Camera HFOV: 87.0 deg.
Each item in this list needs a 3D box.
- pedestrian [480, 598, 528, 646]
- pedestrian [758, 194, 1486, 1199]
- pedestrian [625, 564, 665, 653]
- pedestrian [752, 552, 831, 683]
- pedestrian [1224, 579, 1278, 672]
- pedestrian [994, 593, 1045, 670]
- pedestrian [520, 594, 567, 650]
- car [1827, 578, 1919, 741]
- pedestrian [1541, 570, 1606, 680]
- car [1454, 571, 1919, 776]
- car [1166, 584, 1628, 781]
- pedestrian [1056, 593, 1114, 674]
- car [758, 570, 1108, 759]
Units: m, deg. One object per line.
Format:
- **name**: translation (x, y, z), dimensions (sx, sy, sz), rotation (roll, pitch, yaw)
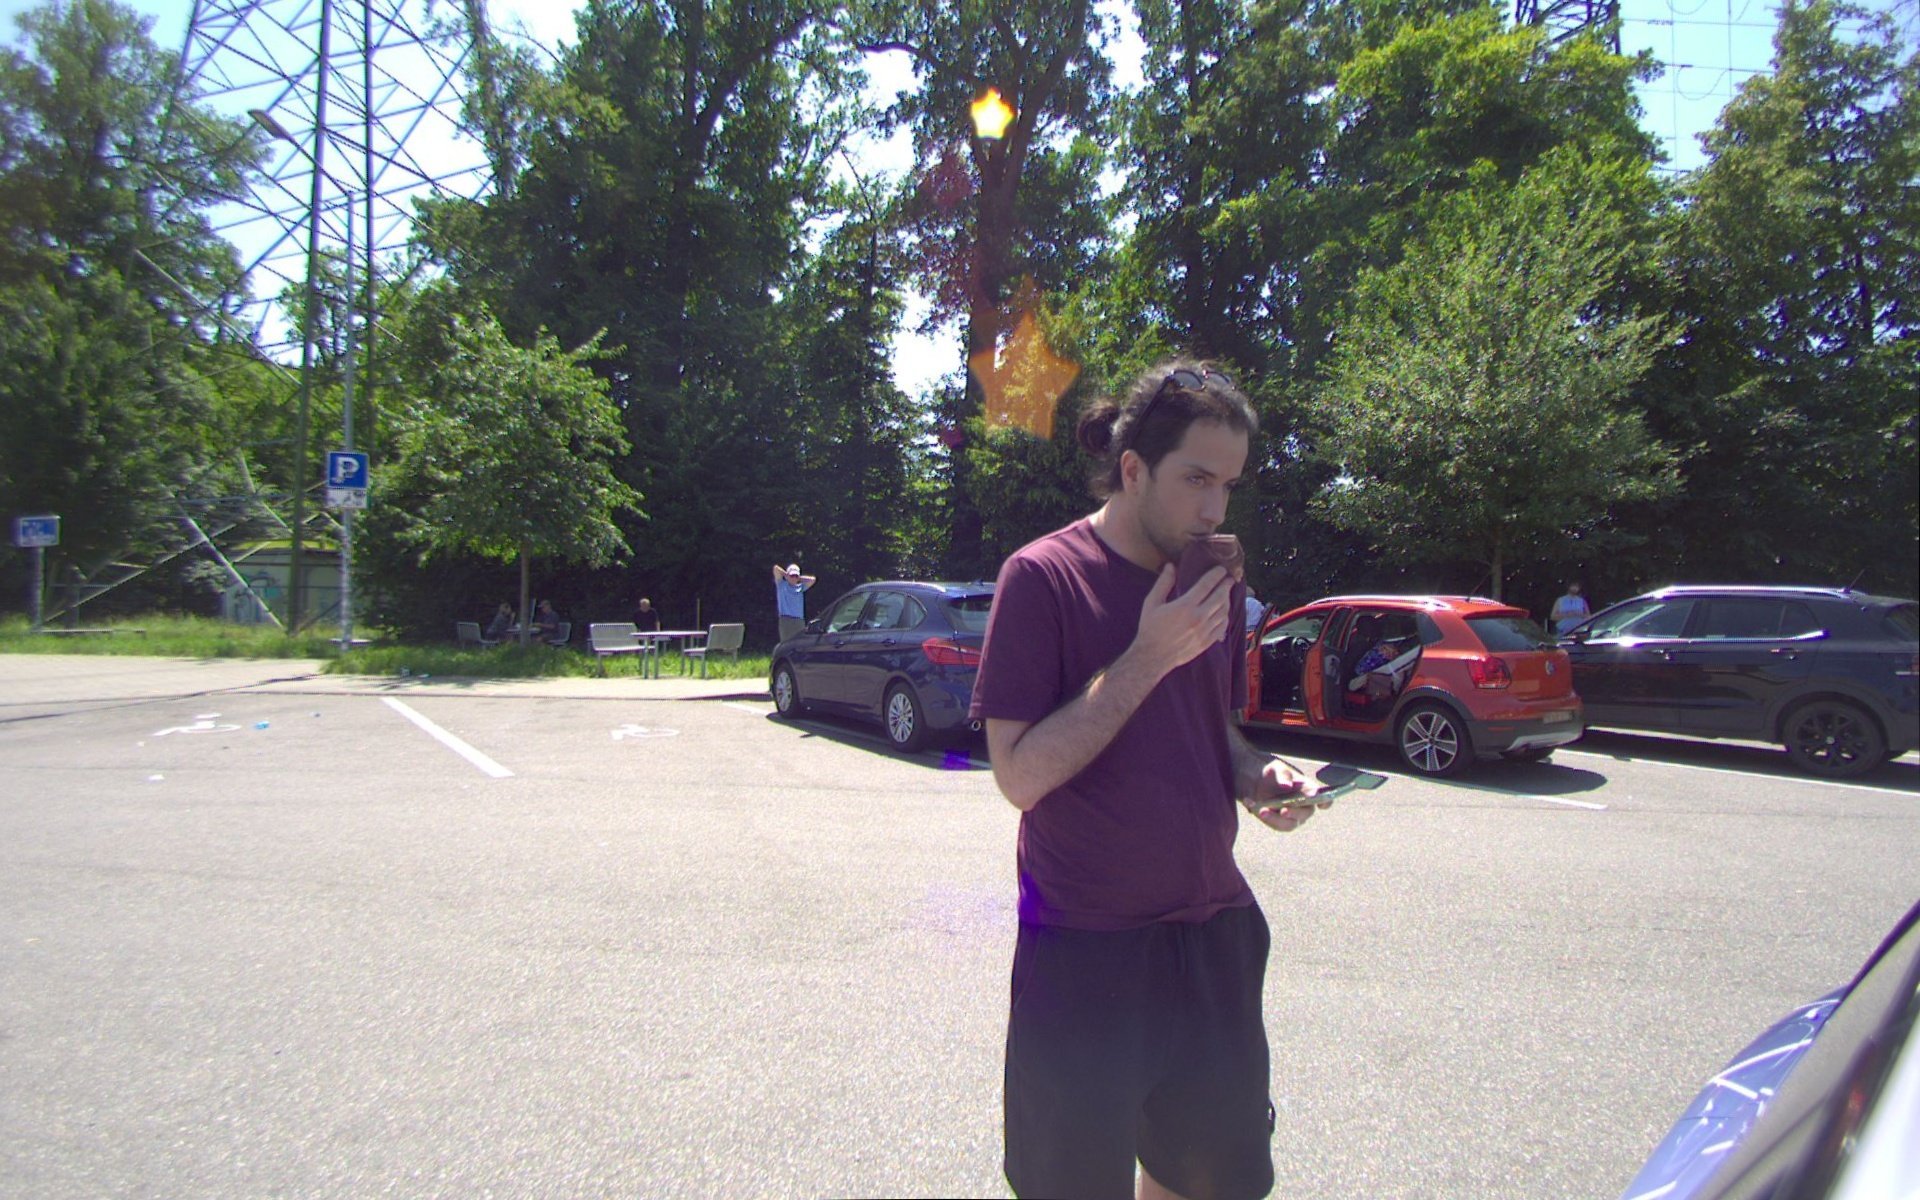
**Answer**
- **pedestrian**: translation (-10.297, 0.491, 22.868), dimensions (0.796, 1.062, 0.714), rotation (1, -1, -43)
- **pedestrian**: translation (0.288, 0.461, 1.711), dimensions (0.828, 1.797, 0.926), rotation (0, -1, 45)
- **pedestrian**: translation (-6.672, 0.180, 21.447), dimensions (0.700, 1.851, 0.906), rotation (1, -1, -12)
- **pedestrian**: translation (-2.385, 0.238, 14.322), dimensions (0.786, 1.784, 0.809), rotation (1, -1, -39)
- **pedestrian**: translation (5.184, 0.436, 18.069), dimensions (0.762, 1.614, 0.808), rotation (1, -1, 6)
- **pedestrian**: translation (1.009, 0.535, 17.301), dimensions (0.656, 1.285, 0.655), rotation (1, -1, -17)
- **pedestrian**: translation (-9.662, 0.496, 23.463), dimensions (0.796, 1.253, 0.713), rotation (1, -1, -44)
- **car**: translation (10.905, 0.598, 9.428), dimensions (1.745, 1.612, 3.972), rotation (1, 0, -32)
- **pedestrian**: translation (9.304, 0.362, 15.384), dimensions (0.707, 1.614, 0.804), rotation (0, -1, 21)
- **car**: translation (7.210, 0.574, 9.837), dimensions (1.807, 1.612, 3.967), rotation (1, 0, -38)
- **car**: translation (3.929, 0.619, 9.650), dimensions (1.746, 1.475, 3.710), rotation (1, 0, -33)
- **pedestrian**: translation (2.077, 0.545, 16.889), dimensions (0.656, 1.311, 0.832), rotation (1, -1, -17)
- **car**: translation (-0.481, 0.541, 10.698), dimensions (1.809, 1.588, 4.017), rotation (1, 0, -35)
